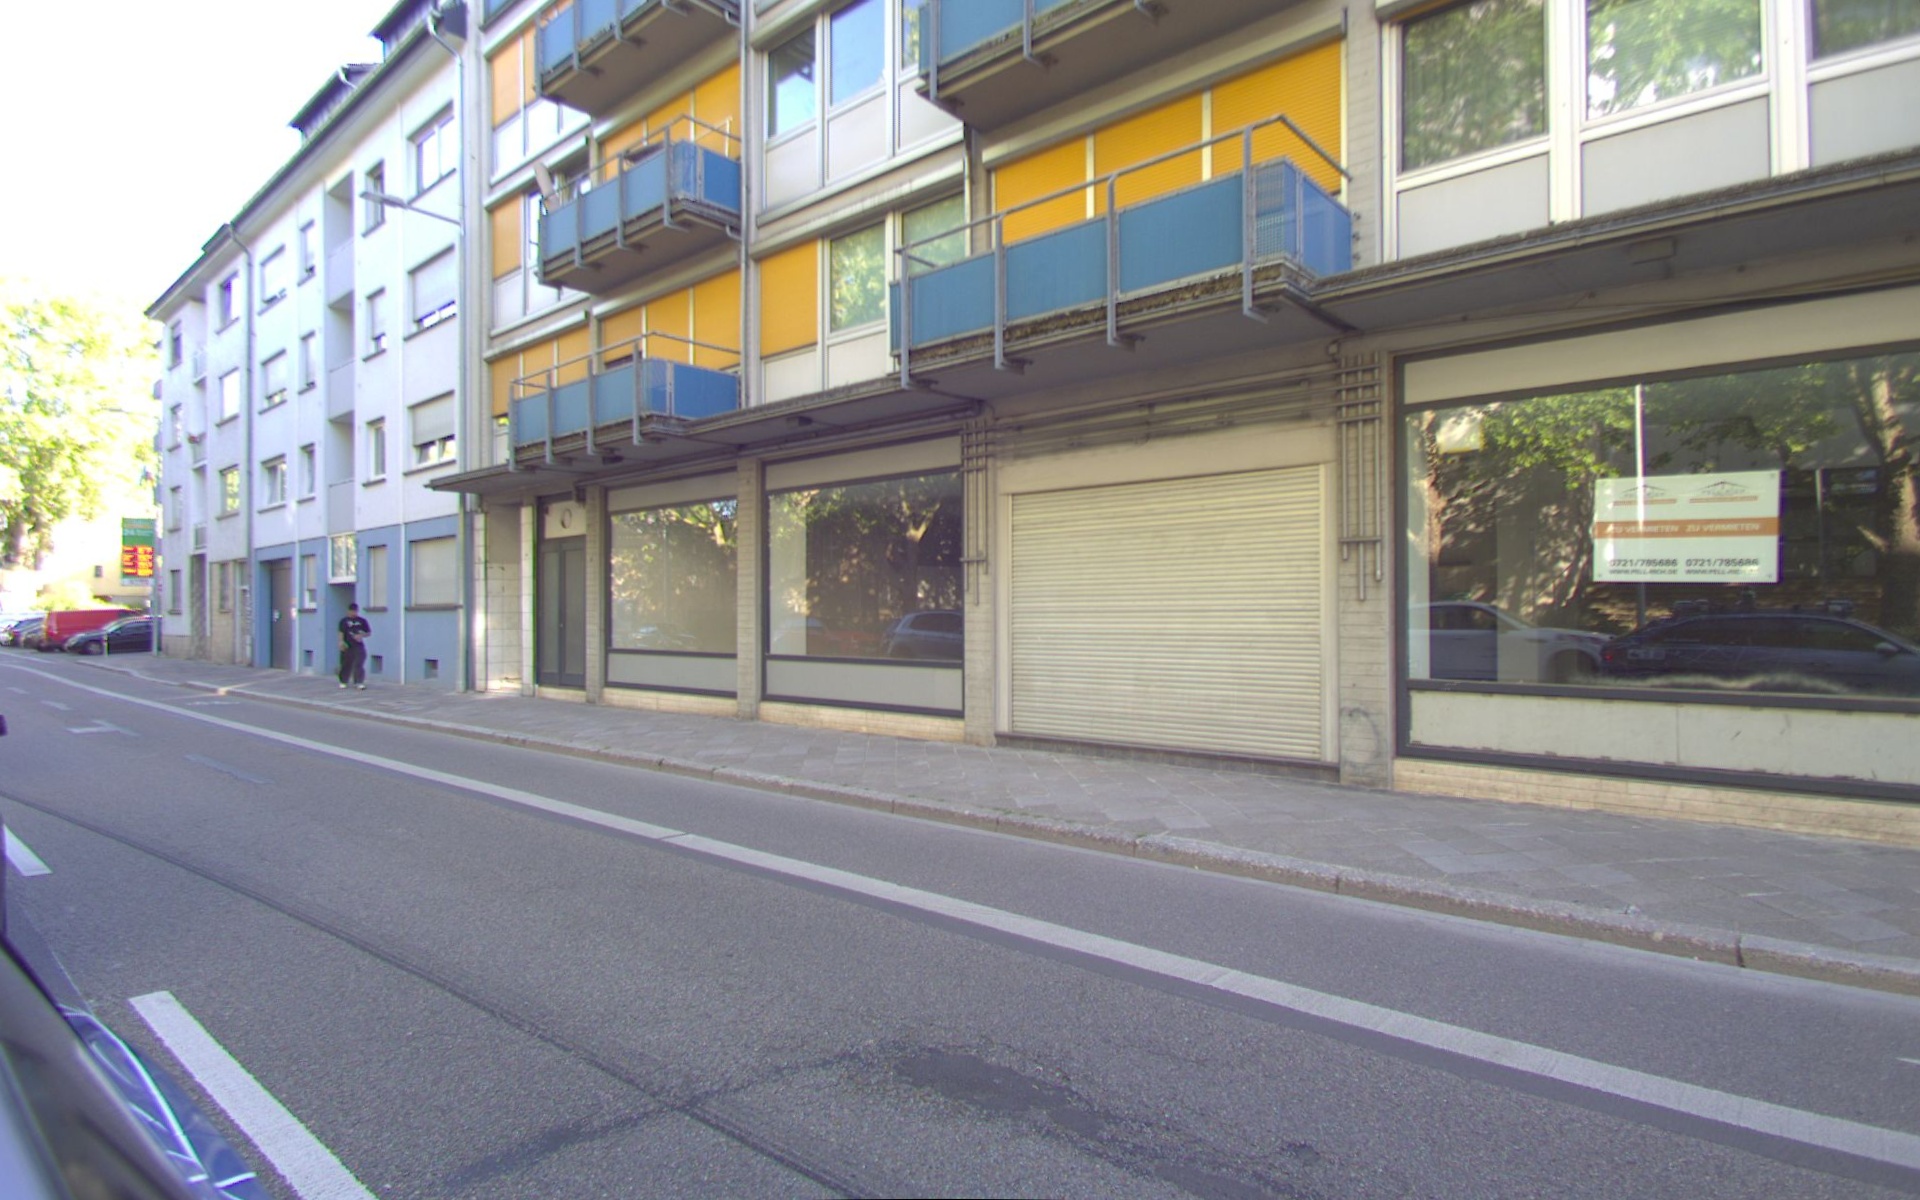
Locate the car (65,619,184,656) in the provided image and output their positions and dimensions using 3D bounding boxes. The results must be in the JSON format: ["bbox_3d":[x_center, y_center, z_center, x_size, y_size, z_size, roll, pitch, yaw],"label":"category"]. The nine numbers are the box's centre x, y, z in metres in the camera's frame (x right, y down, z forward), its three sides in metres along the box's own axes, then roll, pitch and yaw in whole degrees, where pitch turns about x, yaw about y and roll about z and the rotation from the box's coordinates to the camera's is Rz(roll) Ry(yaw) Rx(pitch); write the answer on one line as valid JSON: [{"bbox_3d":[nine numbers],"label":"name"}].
[{"bbox_3d":[-37.862,1.674,45.942,1.742,1.572,3.946,-1,-1,41],"label":"car"}]

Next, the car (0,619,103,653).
[{"bbox_3d":[-55.954,2.156,61.987,2.314,1.952,4.978,-1,-1,41],"label":"car"}]

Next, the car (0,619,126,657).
[{"bbox_3d":[-50.281,2.083,56.831,2.186,1.952,5.077,-1,-1,41],"label":"car"}]

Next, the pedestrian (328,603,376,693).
[{"bbox_3d":[-12.284,0.953,20.457,0.654,1.785,0.794,-1,-1,-44],"label":"pedestrian"}]

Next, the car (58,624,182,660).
[{"bbox_3d":[-36.537,1.784,44.076,1.742,1.431,3.946,-1,-1,41],"label":"car"}]

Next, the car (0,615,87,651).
[{"bbox_3d":[-59.327,2.096,64.714,2.186,2.164,5.077,-1,-1,41],"label":"car"}]

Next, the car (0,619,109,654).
[{"bbox_3d":[-54.106,2.128,60.356,2.082,1.952,4.928,-1,-1,41],"label":"car"}]

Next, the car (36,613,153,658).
[{"bbox_3d":[-40.574,1.630,47.516,1.866,1.952,3.946,-1,-1,41],"label":"car"}]

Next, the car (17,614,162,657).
[{"bbox_3d":[-42.675,1.698,49.714,2.256,1.995,5.156,-1,-1,41],"label":"car"}]

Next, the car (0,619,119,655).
[{"bbox_3d":[-52.220,2.107,58.719,2.159,1.952,4.990,-1,-1,41],"label":"car"}]
